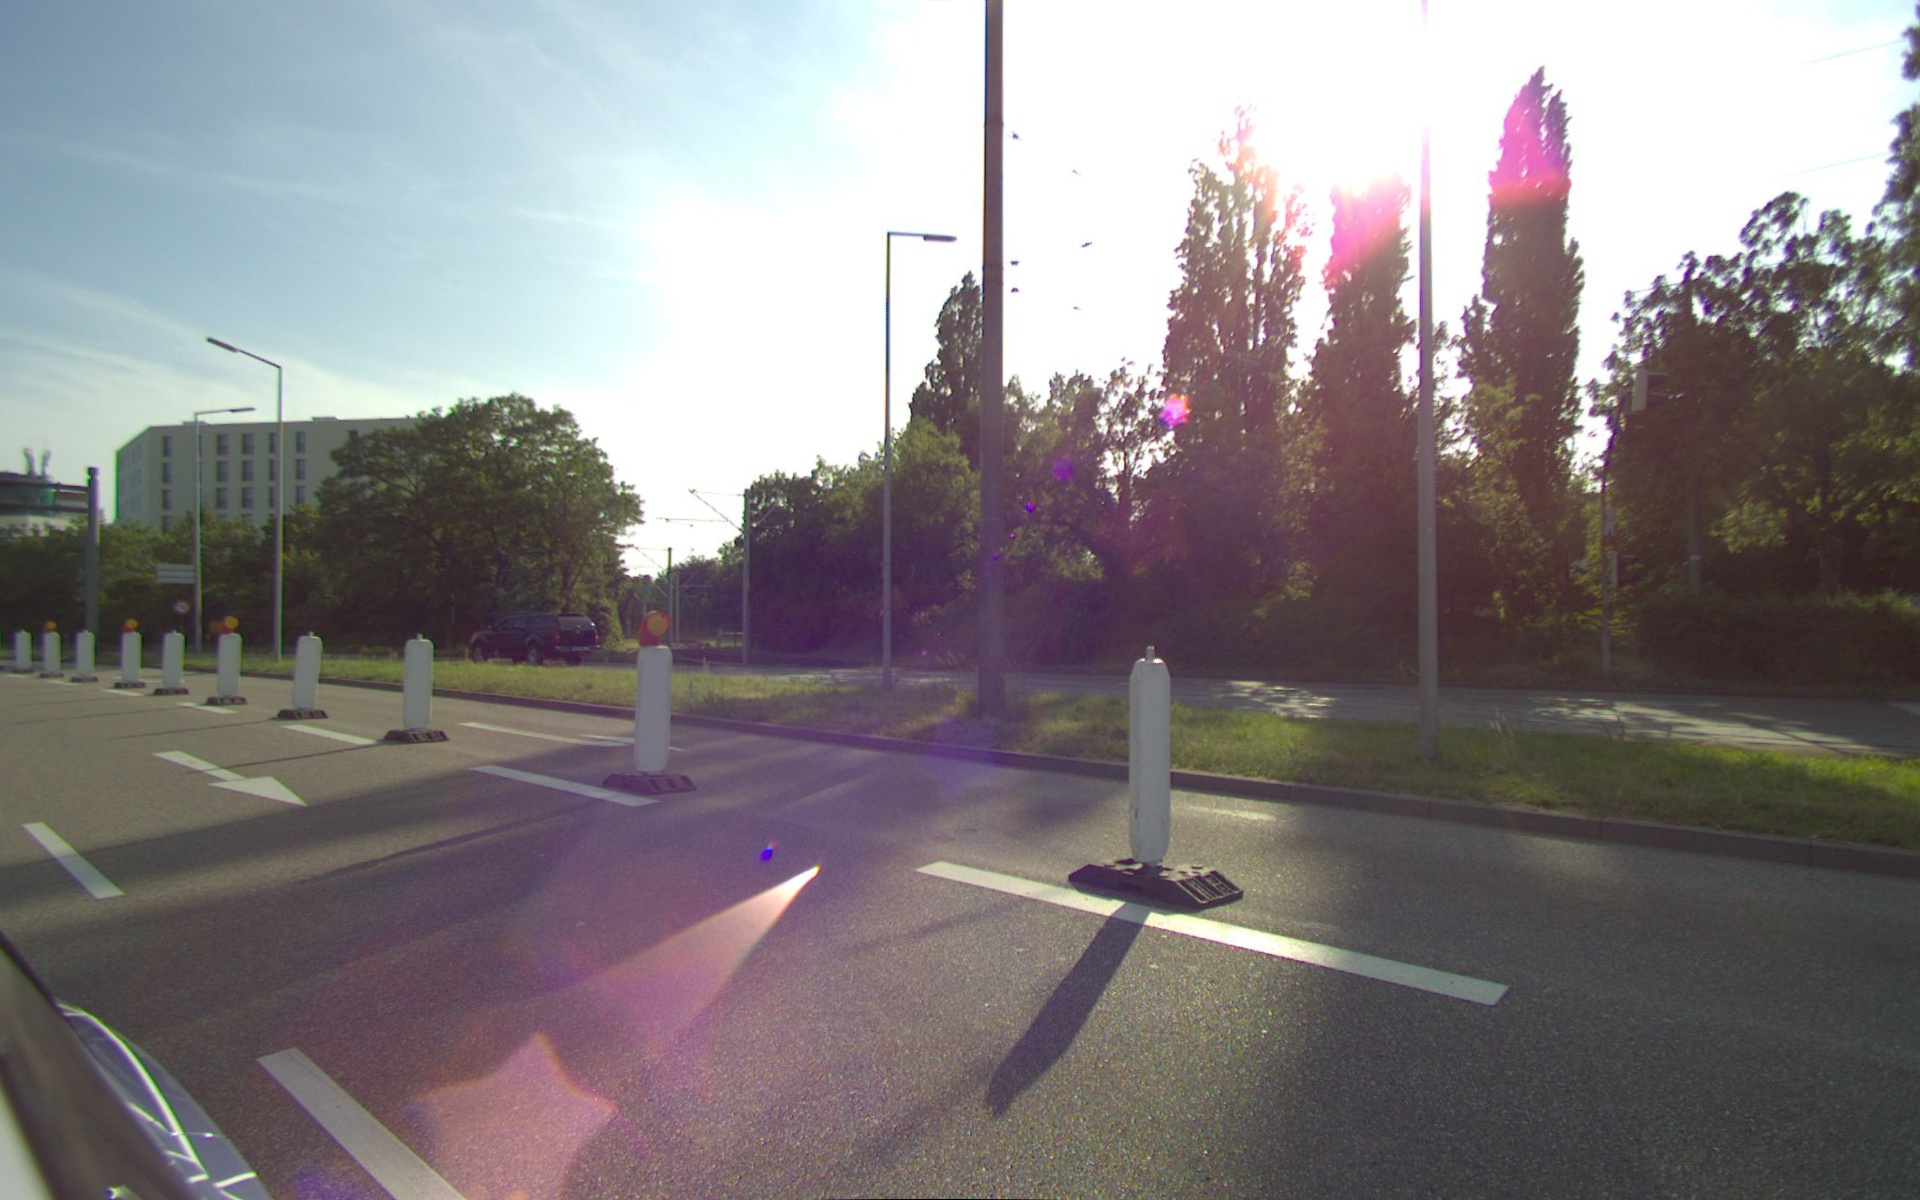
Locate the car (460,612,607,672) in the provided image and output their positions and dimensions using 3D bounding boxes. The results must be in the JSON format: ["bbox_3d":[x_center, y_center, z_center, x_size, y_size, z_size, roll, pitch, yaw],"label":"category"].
[{"bbox_3d":[-15.353,1.486,36.332,5.333,2.029,1.981,-1,-2,29],"label":"car"}]
